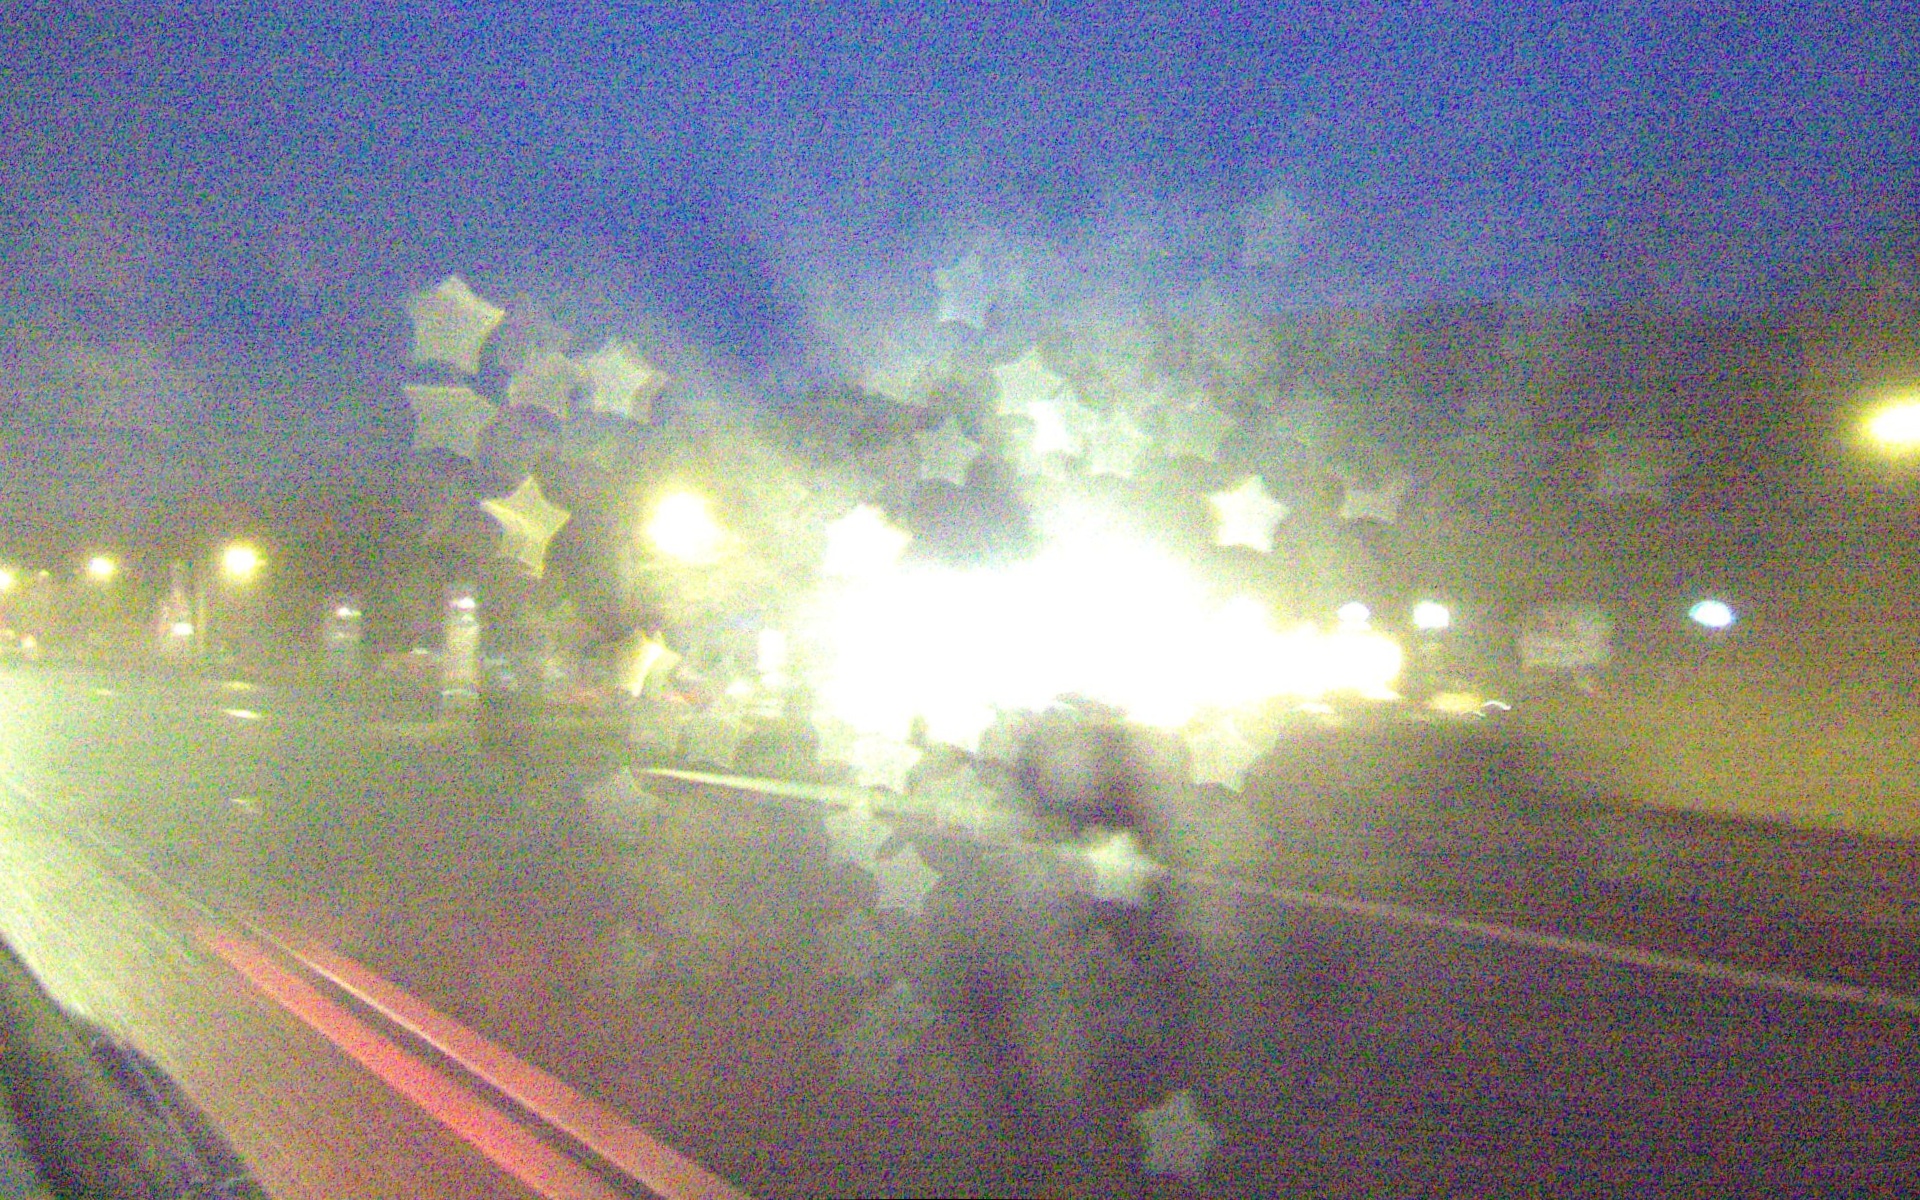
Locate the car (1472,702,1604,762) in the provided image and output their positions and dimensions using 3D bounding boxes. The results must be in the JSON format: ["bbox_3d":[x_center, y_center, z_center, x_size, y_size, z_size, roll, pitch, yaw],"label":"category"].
[{"bbox_3d":[19.370,4.400,33.998,3.738,1.706,1.758,0,-6,32],"label":"car"}]

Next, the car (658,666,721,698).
[{"bbox_3d":[-18.628,5.601,69.657,3.976,2.029,1.725,-1,-1,24],"label":"car"}]

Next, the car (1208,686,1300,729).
[{"bbox_3d":[12.618,4.599,43.412,3.498,1.630,1.668,0,-5,29],"label":"car"}]

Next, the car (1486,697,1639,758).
[{"bbox_3d":[18.652,3.931,31.474,3.986,1.608,1.758,0,-6,32],"label":"car"}]

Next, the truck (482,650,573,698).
[{"bbox_3d":[-33.516,5.716,78.377,7.019,3.285,2.419,0,-6,28],"label":"truck"}]

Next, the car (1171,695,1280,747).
[{"bbox_3d":[9.598,4.330,36.563,3.498,1.630,1.734,0,-5,29],"label":"car"}]

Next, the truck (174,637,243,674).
[{"bbox_3d":[-56.851,4.174,76.552,6.859,2.538,2.148,-1,-6,37],"label":"truck"}]

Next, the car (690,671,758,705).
[{"bbox_3d":[-13.463,5.005,57.947,1.984,1.652,3.976,-2,-1,18],"label":"car"}]

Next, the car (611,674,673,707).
[{"bbox_3d":[-20.609,5.828,65.650,3.702,1.921,1.707,-1,-1,26],"label":"car"}]

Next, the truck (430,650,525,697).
[{"bbox_3d":[-35.413,5.375,74.224,7.019,3.121,2.419,0,-6,28],"label":"truck"}]

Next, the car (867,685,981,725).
[{"bbox_3d":[-1.615,4.731,45.901,4.809,1.579,1.990,1,-4,15],"label":"car"}]

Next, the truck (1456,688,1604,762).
[{"bbox_3d":[21.642,4.713,38.565,4.802,2.463,1.758,0,-6,32],"label":"truck"}]

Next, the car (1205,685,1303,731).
[{"bbox_3d":[11.859,4.337,40.802,3.498,1.630,1.734,0,-5,29],"label":"car"}]

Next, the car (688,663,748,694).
[{"bbox_3d":[-17.203,5.577,71.986,3.976,2.029,1.725,-1,-1,24],"label":"car"}]

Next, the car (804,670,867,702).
[{"bbox_3d":[-8.238,5.751,67.243,1.926,1.870,3.955,0,-6,33],"label":"car"}]

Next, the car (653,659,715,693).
[{"bbox_3d":[-16.013,4.389,58.901,1.978,1.652,3.988,-1,-1,9],"label":"car"}]

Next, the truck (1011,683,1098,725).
[{"bbox_3d":[5.443,5.980,58.165,4.477,2.135,2.069,0,-6,30],"label":"truck"}]

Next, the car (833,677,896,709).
[{"bbox_3d":[-6.160,6.051,65.946,1.994,1.870,3.955,0,-6,33],"label":"car"}]

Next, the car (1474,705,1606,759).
[{"bbox_3d":[20.581,4.678,36.027,3.986,1.608,1.758,0,-6,32],"label":"car"}]

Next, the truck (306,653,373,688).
[{"bbox_3d":[-51.633,5.846,84.139,6.859,2.538,2.148,-1,-6,37],"label":"truck"}]

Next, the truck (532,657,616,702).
[{"bbox_3d":[-31.321,6.452,82.074,6.537,3.285,2.419,0,-6,28],"label":"truck"}]

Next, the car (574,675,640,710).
[{"bbox_3d":[-21.832,5.695,62.594,3.702,1.921,1.707,-1,-1,26],"label":"car"}]

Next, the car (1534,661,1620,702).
[{"bbox_3d":[36.882,4.859,60.548,4.157,2.146,1.974,-1,0,39],"label":"car"}]

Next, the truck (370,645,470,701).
[{"bbox_3d":[-37.409,5.033,70.080,7.022,3.506,2.450,0,-6,30],"label":"truck"}]

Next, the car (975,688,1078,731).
[{"bbox_3d":[2.771,4.630,42.905,4.148,1.579,1.817,2,-4,0],"label":"car"}]

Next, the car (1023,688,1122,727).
[{"bbox_3d":[5.247,5.039,47.633,4.348,1.579,2.000,2,-4,0],"label":"car"}]

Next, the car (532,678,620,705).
[{"bbox_3d":[-20.051,4.788,52.993,1.842,1.210,3.955,0,-6,33],"label":"car"}]

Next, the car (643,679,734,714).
[{"bbox_3d":[-13.108,4.697,49.030,1.906,1.466,3.955,0,-6,33],"label":"car"}]
